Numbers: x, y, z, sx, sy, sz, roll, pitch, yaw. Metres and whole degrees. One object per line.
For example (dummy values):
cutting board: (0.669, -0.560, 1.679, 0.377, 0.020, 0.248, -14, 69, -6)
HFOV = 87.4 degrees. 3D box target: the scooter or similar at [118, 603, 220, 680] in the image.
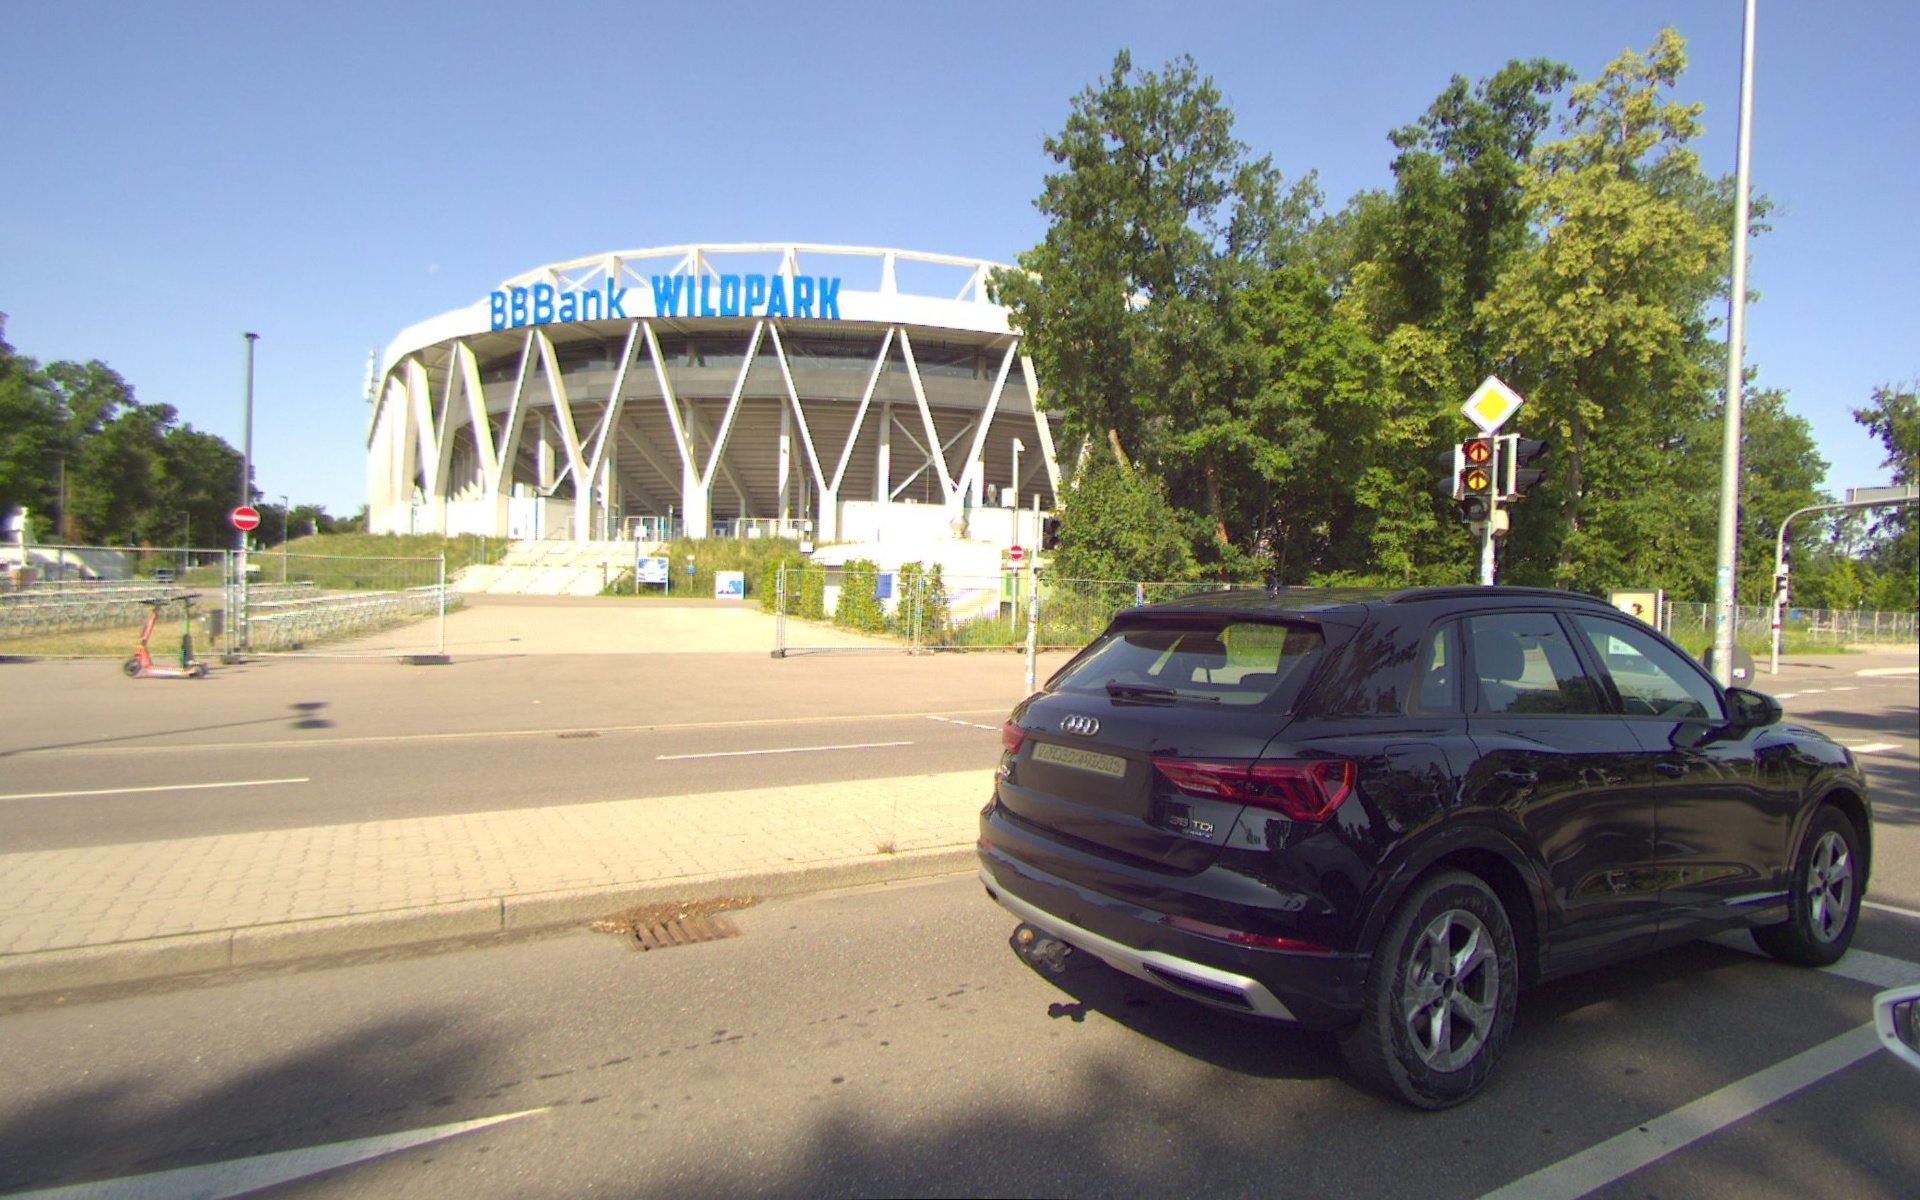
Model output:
scooter or similar: (-12.320, 0.644, 15.675, 1.180, 1.161, 0.393, 1, 1, -25)

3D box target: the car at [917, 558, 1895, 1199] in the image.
car: (2.023, 0.721, 4.209, 4.100, 1.565, 1.680, 1, -1, -30)

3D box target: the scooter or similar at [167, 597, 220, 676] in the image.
scooter or similar: (-12.581, 0.582, 16.489, 1.064, 1.238, 0.395, 2, 1, 36)
